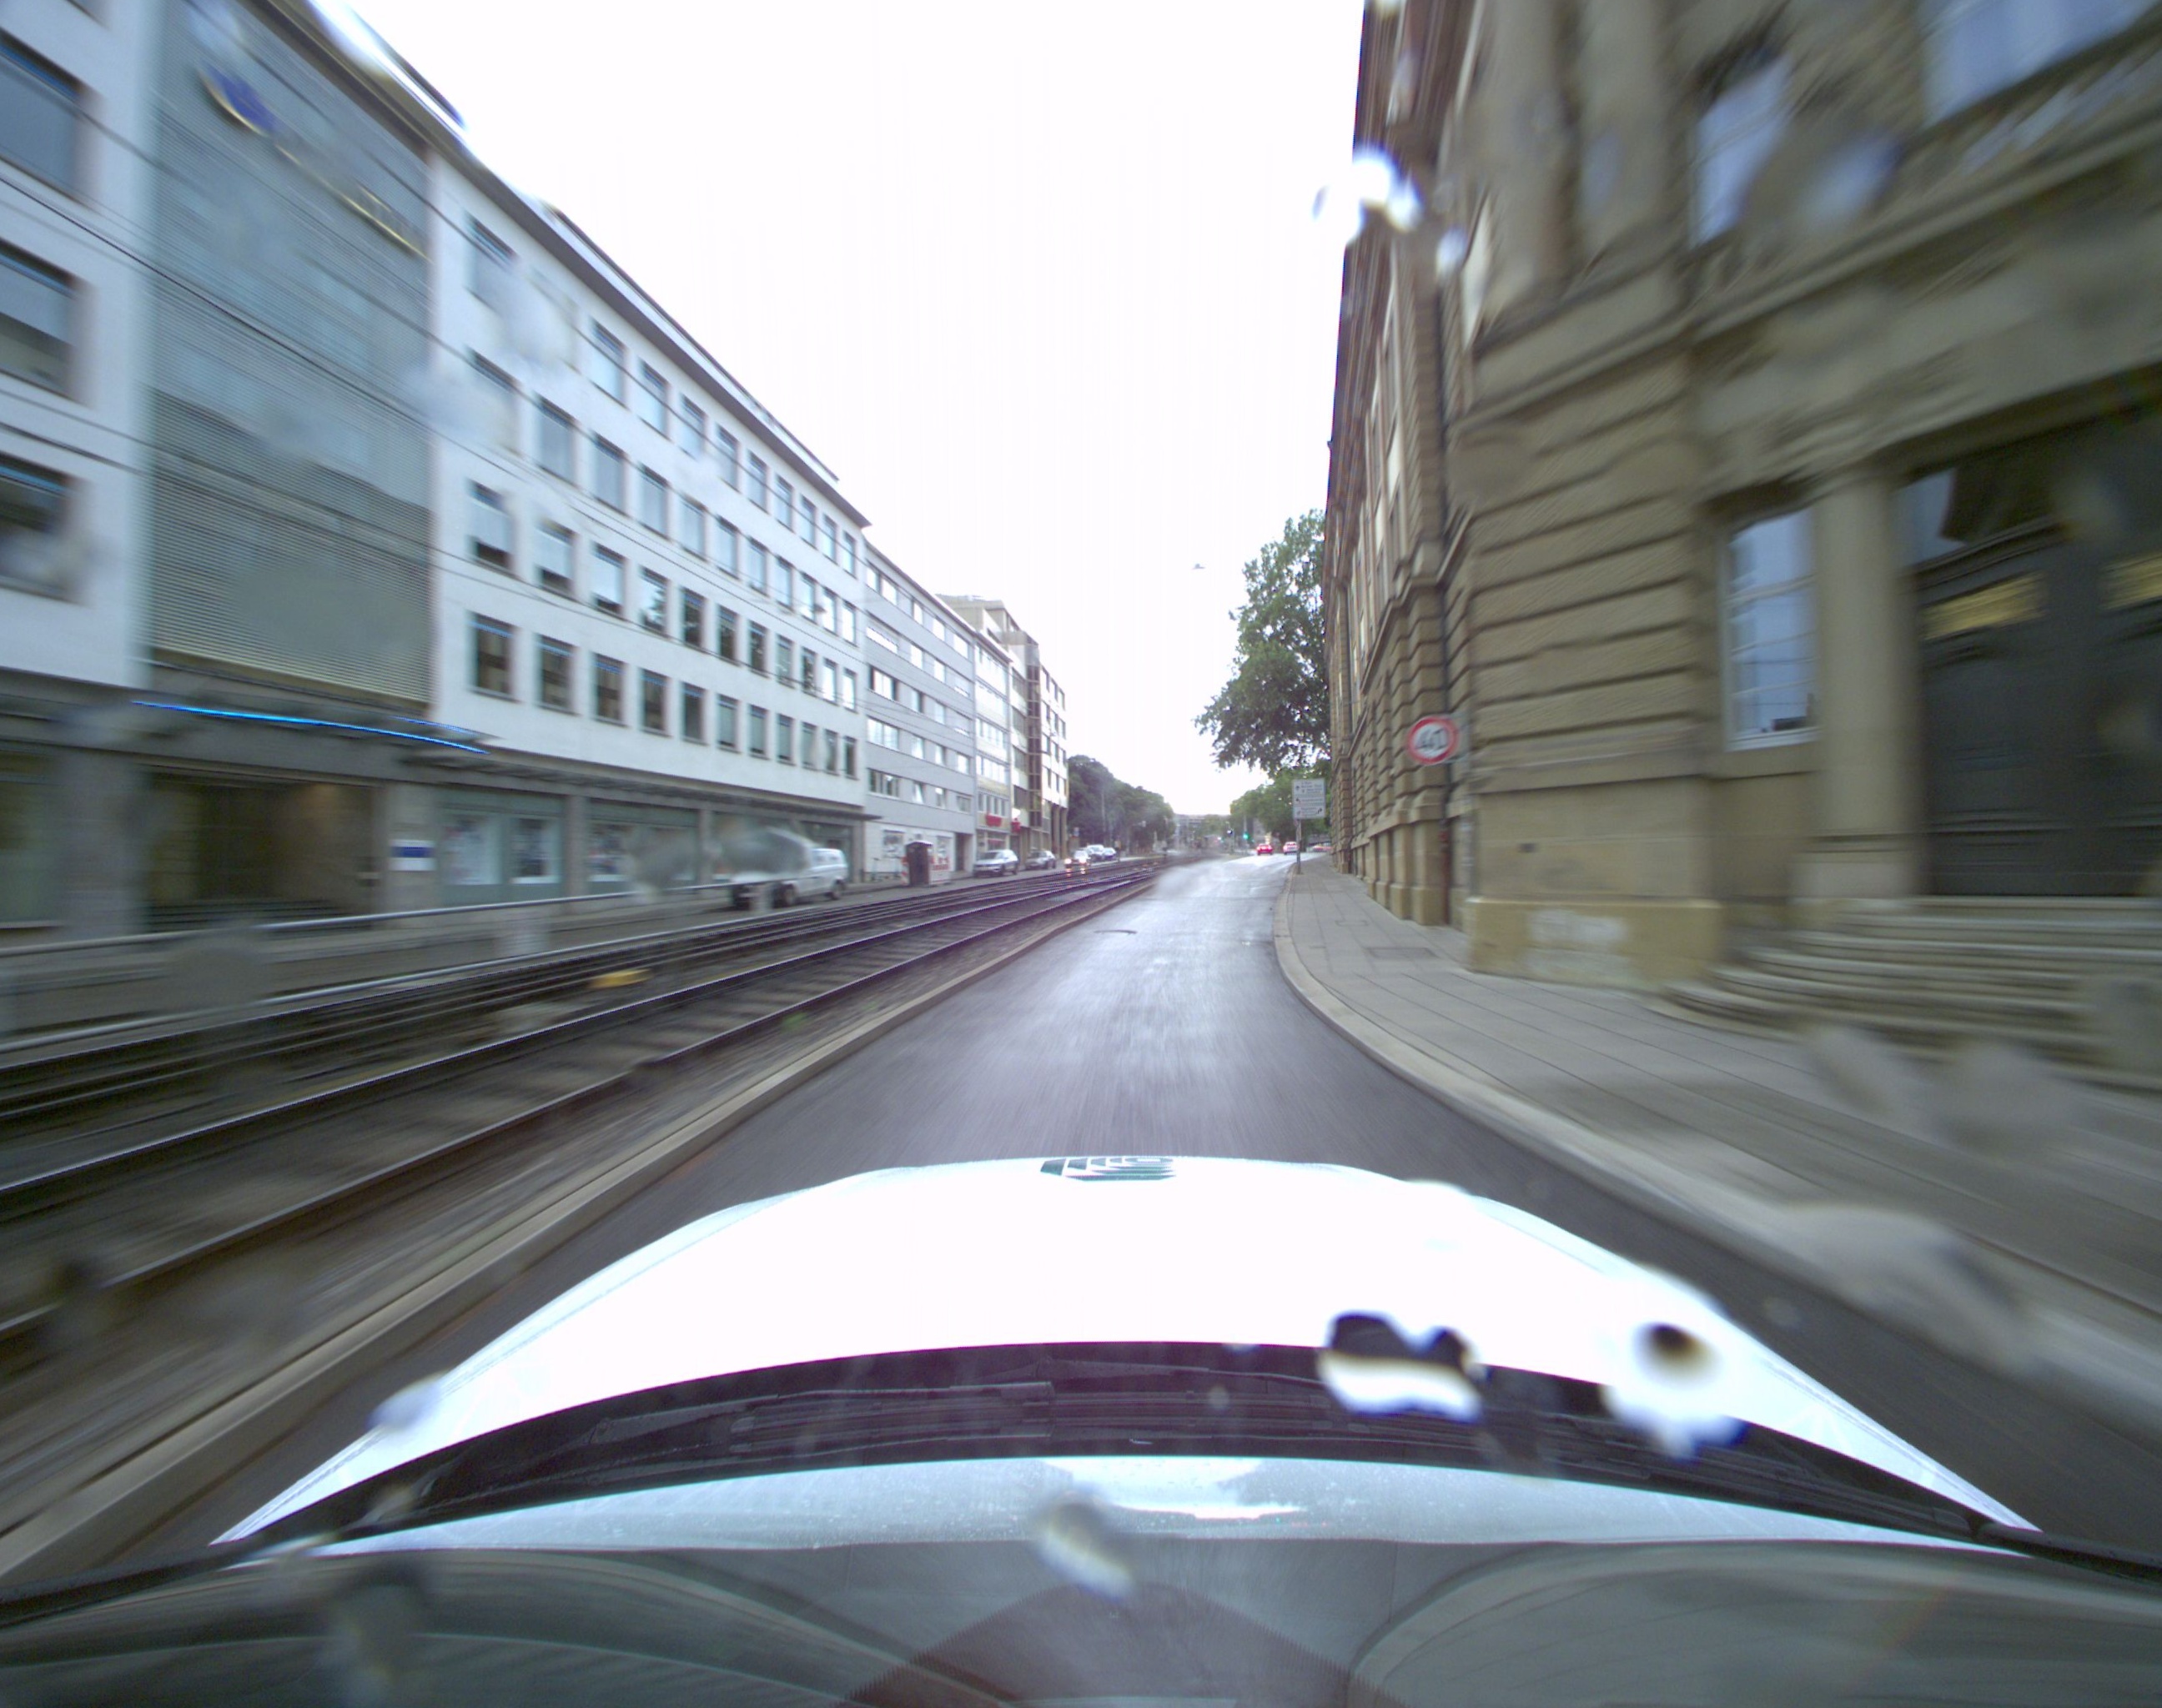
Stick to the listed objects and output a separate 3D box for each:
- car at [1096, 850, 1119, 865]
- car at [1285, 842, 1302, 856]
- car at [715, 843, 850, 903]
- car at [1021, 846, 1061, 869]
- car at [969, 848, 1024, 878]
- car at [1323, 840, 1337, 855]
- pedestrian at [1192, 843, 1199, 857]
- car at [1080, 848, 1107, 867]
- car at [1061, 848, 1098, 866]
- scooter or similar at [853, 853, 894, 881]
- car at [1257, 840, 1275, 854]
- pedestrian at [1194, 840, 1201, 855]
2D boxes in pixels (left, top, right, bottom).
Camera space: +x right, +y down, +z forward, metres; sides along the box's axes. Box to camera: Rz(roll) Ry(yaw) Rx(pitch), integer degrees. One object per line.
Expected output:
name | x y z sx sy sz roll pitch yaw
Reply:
car | 2.969 0.436 89.981 1.981 1.582 4.561 1 -1 10
car | 25.125 -0.561 96.249 1.666 1.576 4.272 -2 0 17
car | -9.947 0.614 27.710 1.981 1.842 5.145 0 -1 10
car | -2.997 0.310 62.042 1.981 1.674 4.708 0 -1 10
car | -5.133 0.527 50.232 1.980 1.673 4.712 1 1 12
car | 55.647 -1.459 182.201 2.527 3.134 5.047 0 -1 12
pedestrian | 14.491 -0.469 103.348 0.639 1.788 0.808 1 -1 -11
car | 1.324 0.371 83.931 1.981 1.850 4.708 0 -1 10
car | -0.049 0.253 62.543 1.981 1.255 4.708 -2 -1 10
scooter or similar | -10.458 0.637 41.132 0.692 1.374 3.099 0 -1 12
car | 22.885 -0.897 100.440 1.966 1.640 4.434 0 -1 15
pedestrian | 14.668 -0.815 102.471 0.638 1.788 0.809 1 -1 -6
